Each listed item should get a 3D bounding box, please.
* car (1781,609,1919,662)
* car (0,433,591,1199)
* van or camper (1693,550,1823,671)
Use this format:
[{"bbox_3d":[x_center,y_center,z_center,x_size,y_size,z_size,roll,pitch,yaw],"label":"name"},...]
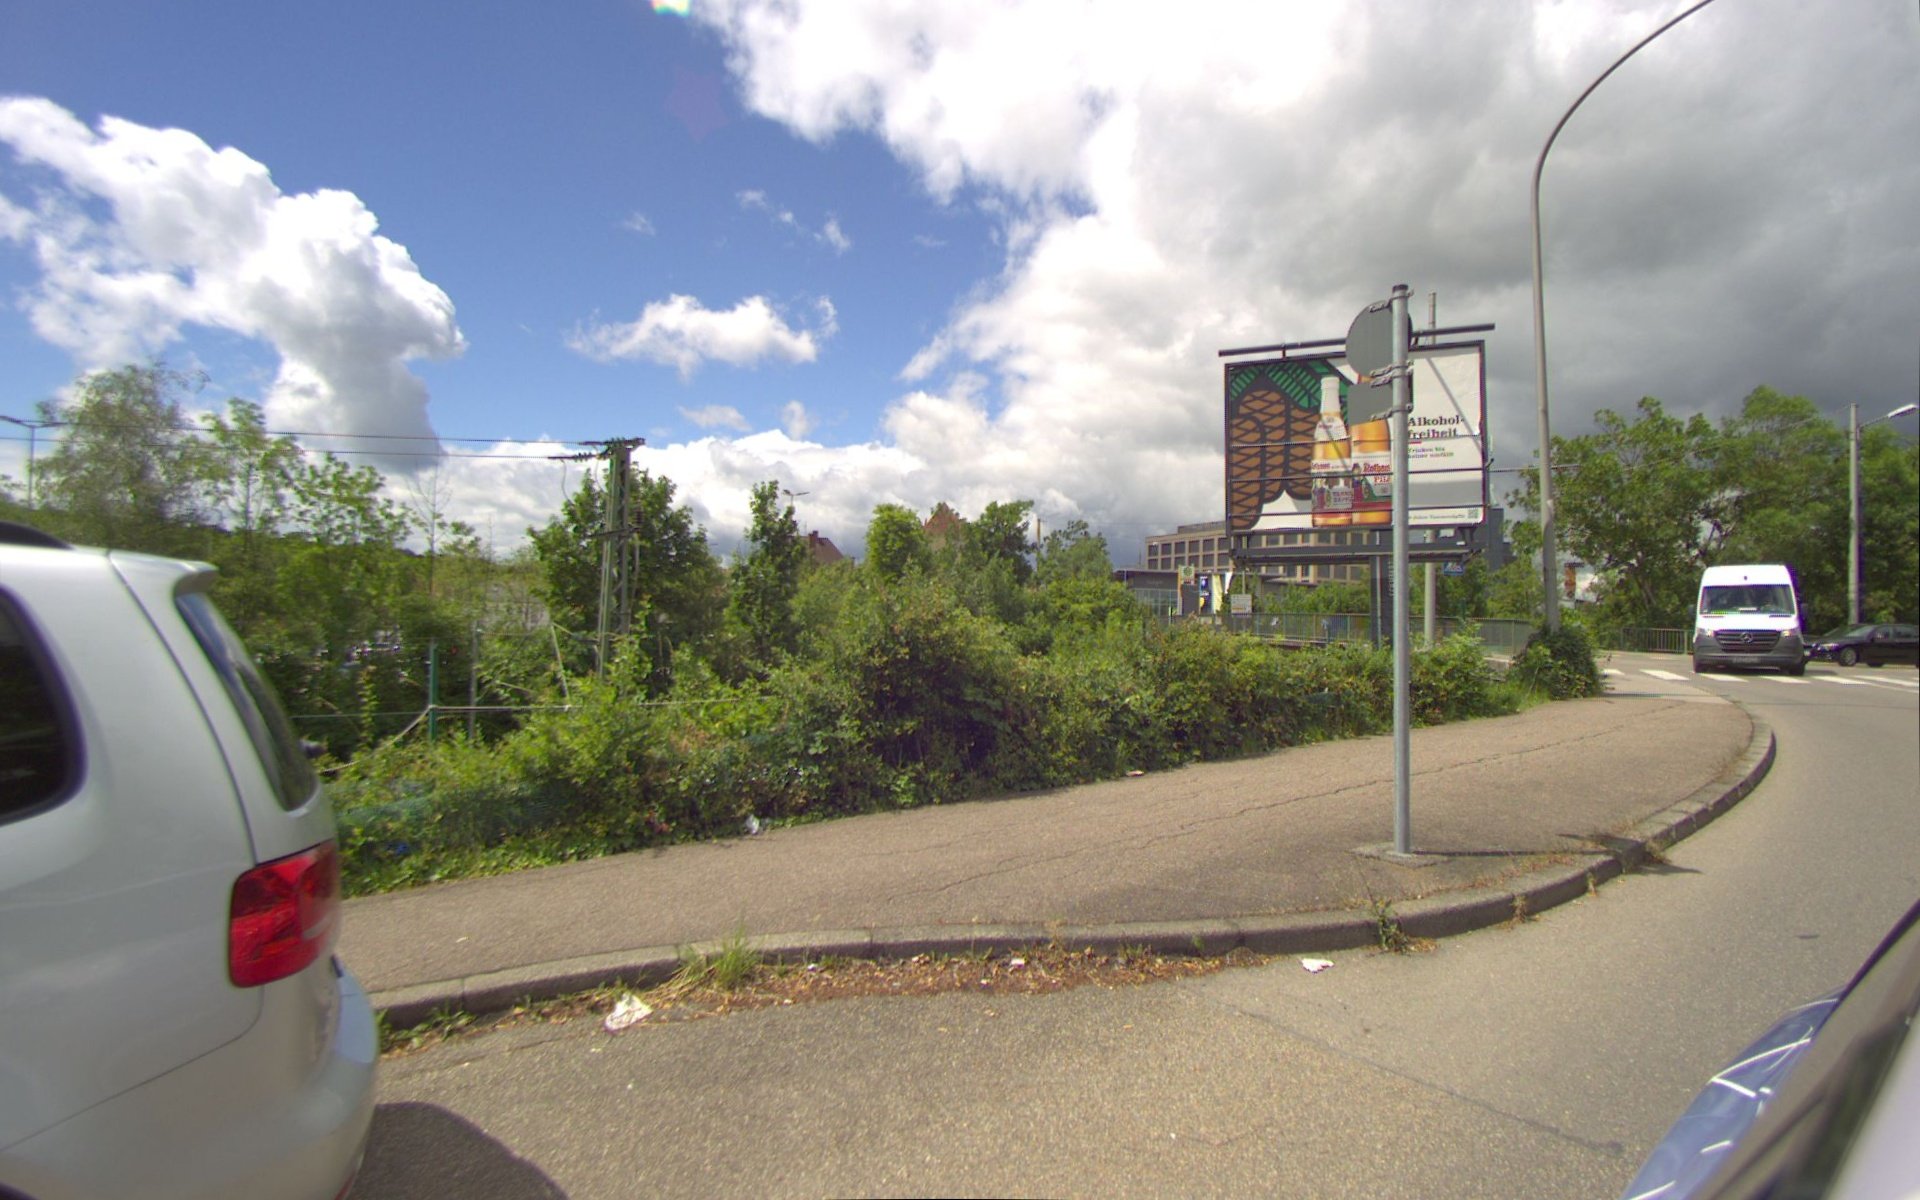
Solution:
[{"bbox_3d":[28.892,1.147,32.140,4.144,1.493,2.001,3,-2,-6],"label":"car"},{"bbox_3d":[-2.878,0.624,1.272,4.231,1.699,1.708,0,-2,-40],"label":"car"},{"bbox_3d":[19.355,0.291,24.676,2.182,2.599,5.846,2,-1,37],"label":"van or camper"}]
